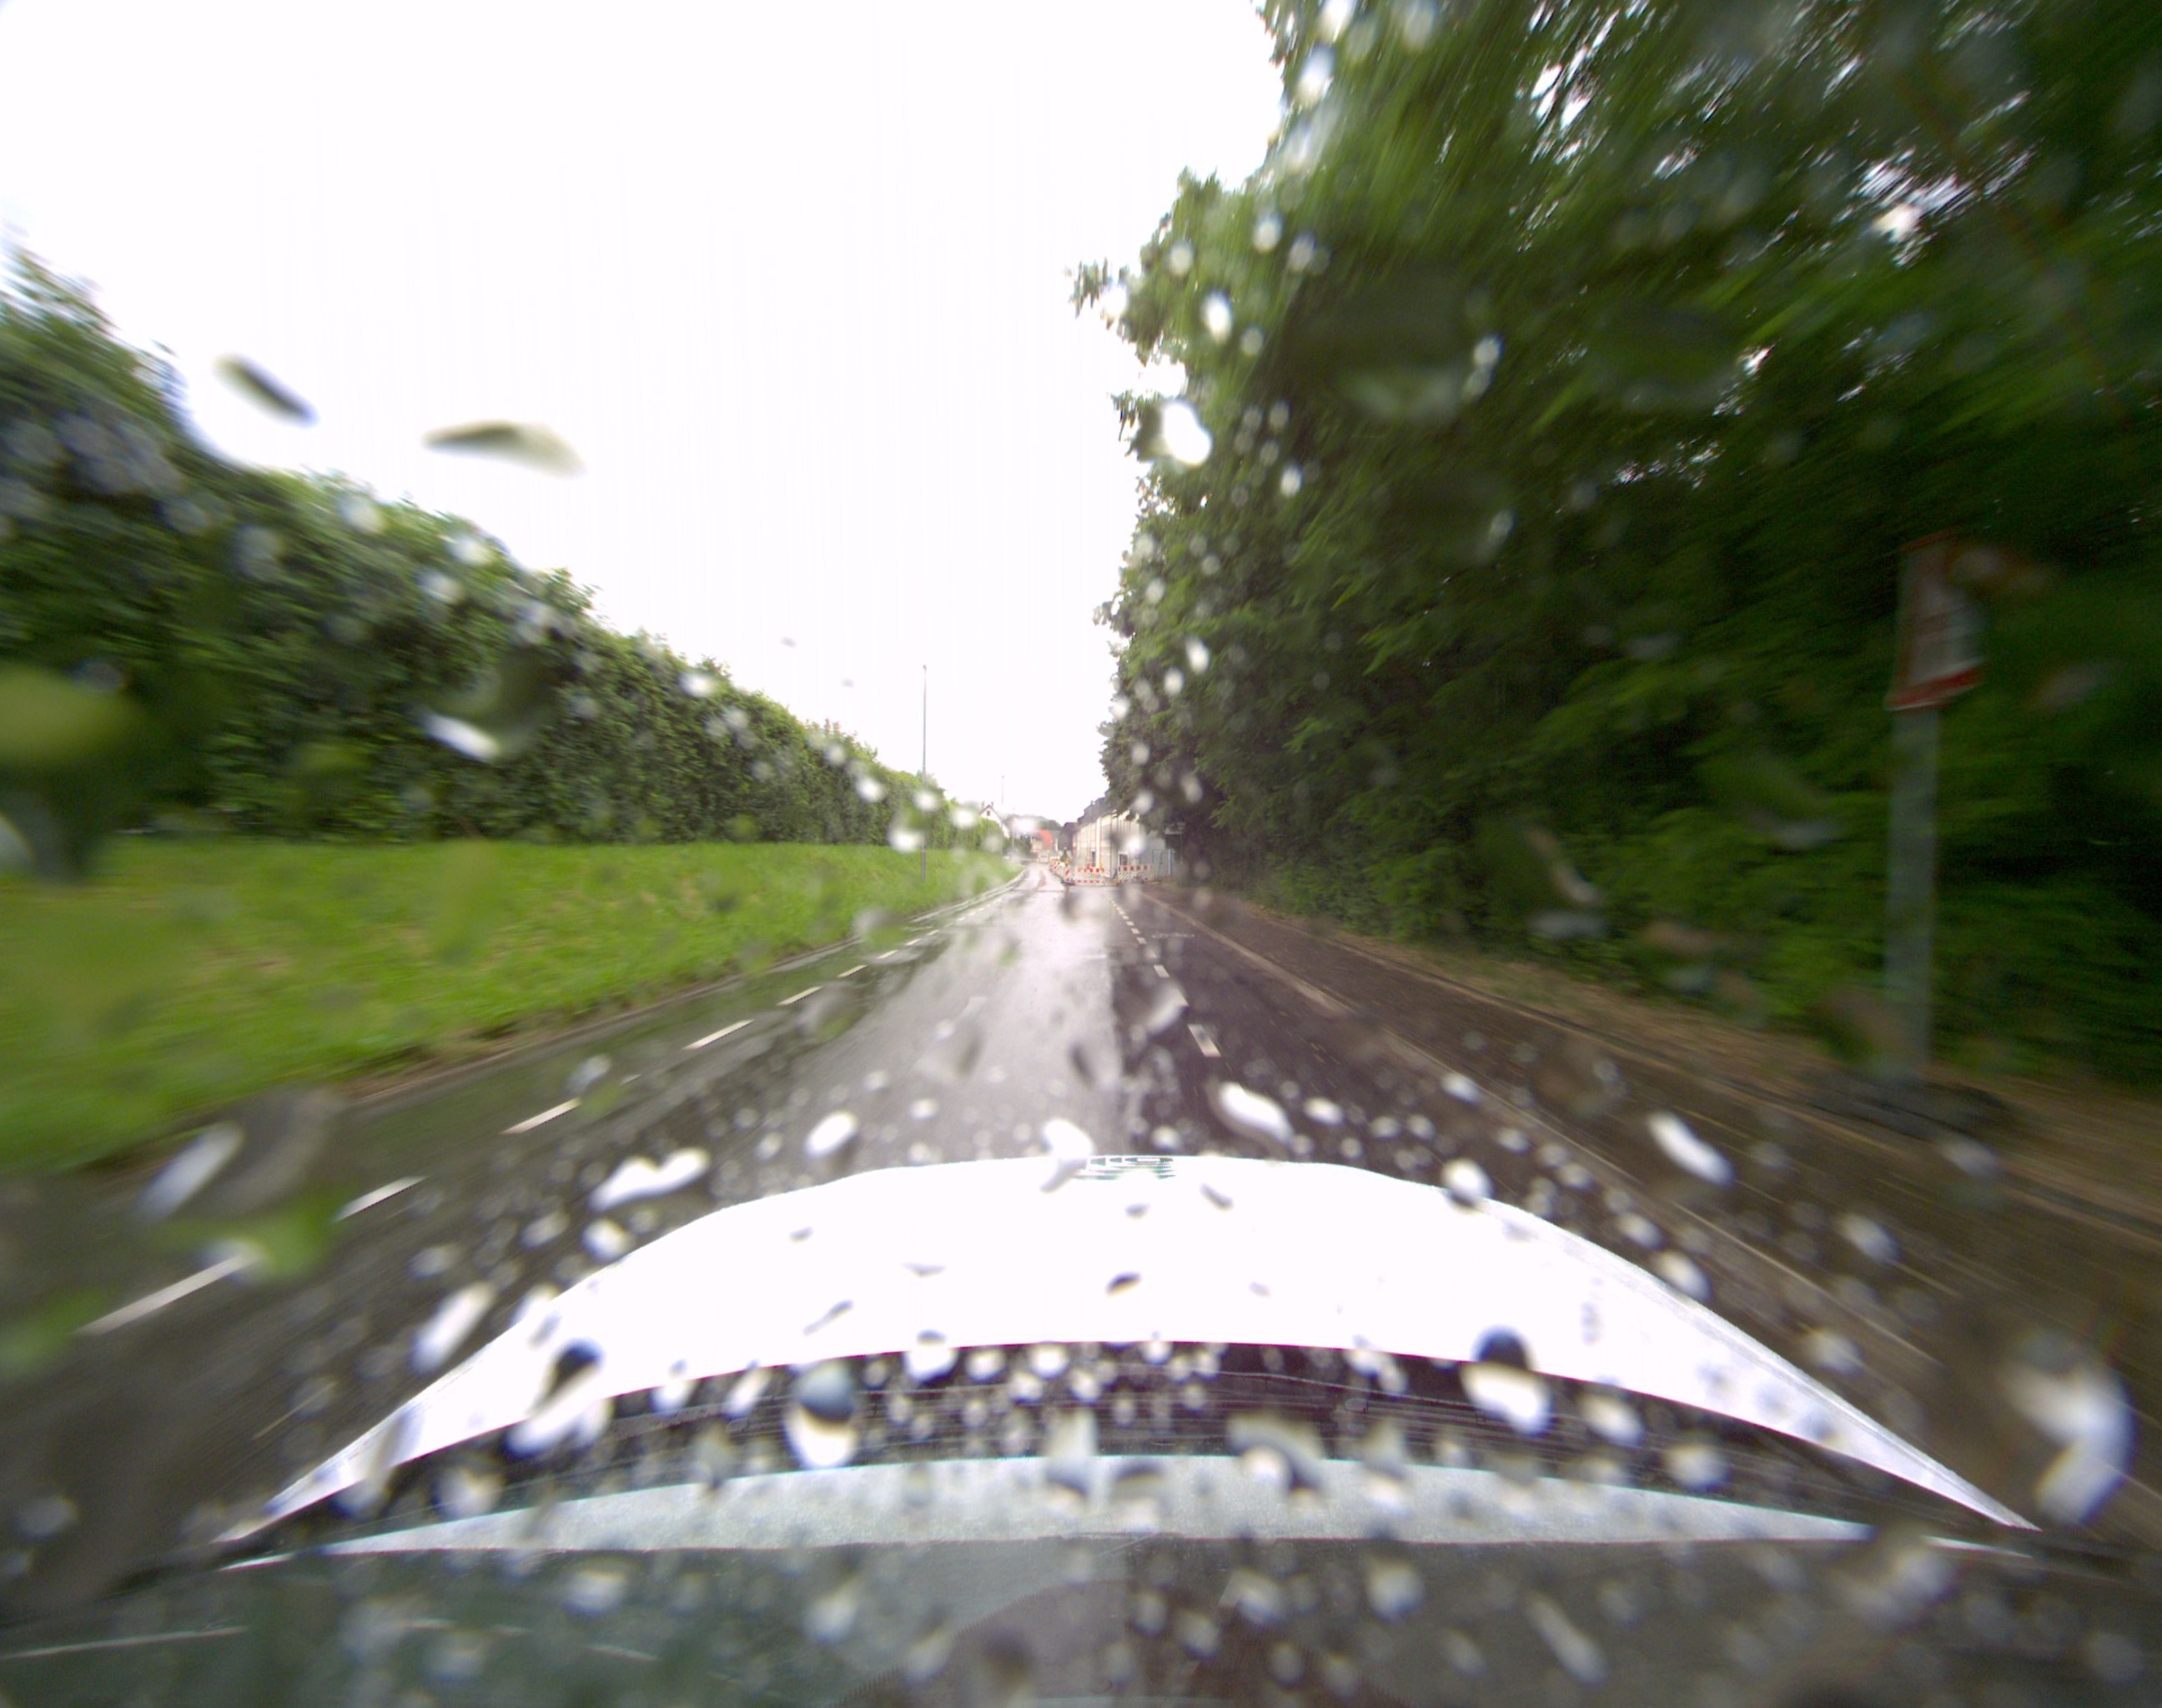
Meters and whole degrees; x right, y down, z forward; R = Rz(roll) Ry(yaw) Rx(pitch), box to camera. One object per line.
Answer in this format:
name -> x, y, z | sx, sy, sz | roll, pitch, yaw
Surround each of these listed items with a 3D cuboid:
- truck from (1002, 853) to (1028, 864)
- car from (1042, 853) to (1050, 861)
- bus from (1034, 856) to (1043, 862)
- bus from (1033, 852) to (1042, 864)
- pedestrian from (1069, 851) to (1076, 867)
truck -> -12.376, 0.829, 152.213 | 4.881, 2.013, 1.996 | 1, 1, -6
car -> -7.617, 0.697, 176.867 | 1.814, 1.642, 4.091 | -2, 0, -3
bus -> -10.143, 1.225, 195.981 | 1.787, 1.410, 4.001 | 2, -1, 2
bus -> -11.734, 0.975, 217.636 | 2.237, 3.103, 7.020 | -2, 0, -4
pedestrian -> -0.883, 0.530, 86.134 | 0.665, 1.755, 0.810 | -2, 0, -7
